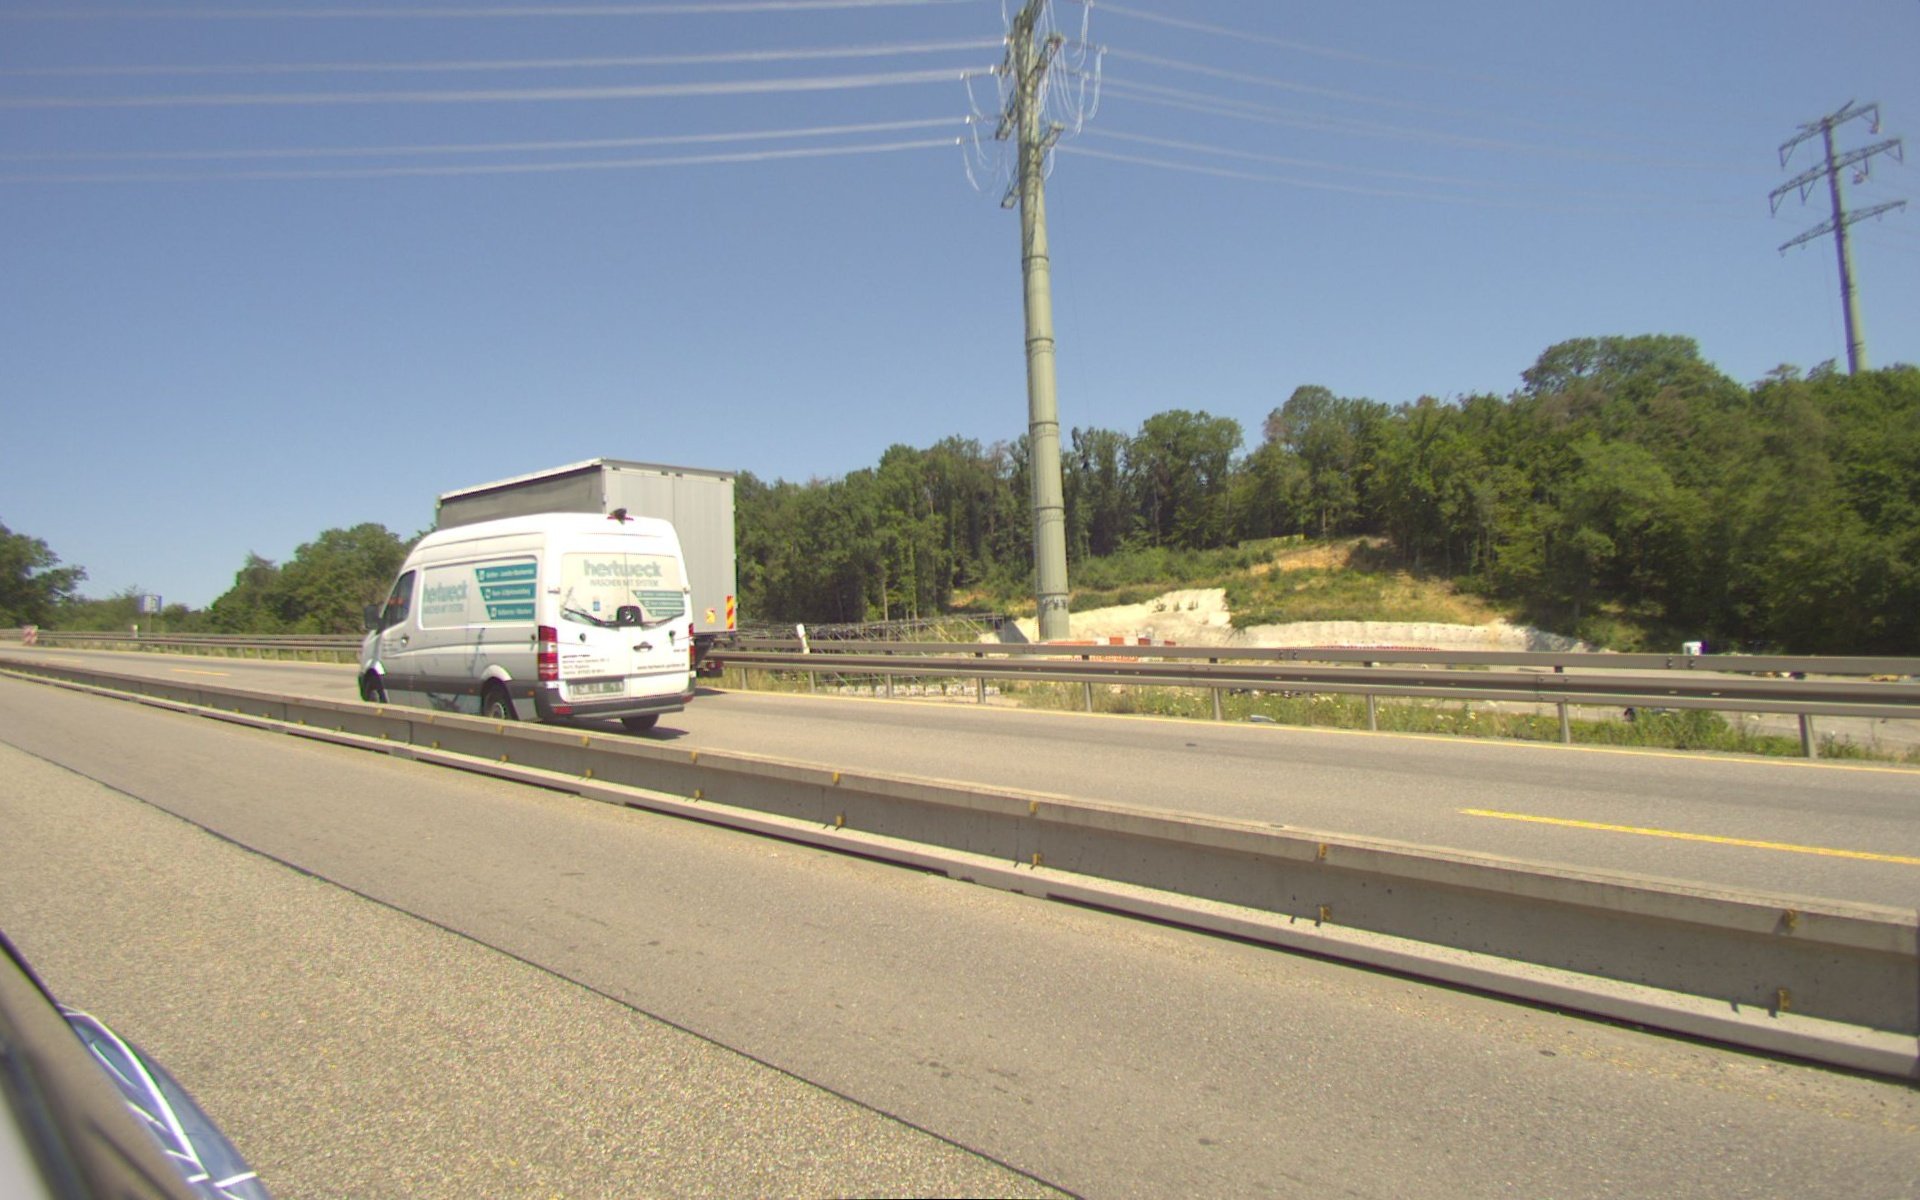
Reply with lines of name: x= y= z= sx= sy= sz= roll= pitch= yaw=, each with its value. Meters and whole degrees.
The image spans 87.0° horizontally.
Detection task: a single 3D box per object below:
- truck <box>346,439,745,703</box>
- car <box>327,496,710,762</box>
truck: x=-8.649 y=-0.417 z=19.970 sx=10.546 sy=4.030 sz=2.772 roll=-1 pitch=0 yaw=41
car: x=-6.047 y=0.320 z=13.215 sx=6.658 sy=2.700 sz=1.949 roll=-1 pitch=-1 yaw=41
